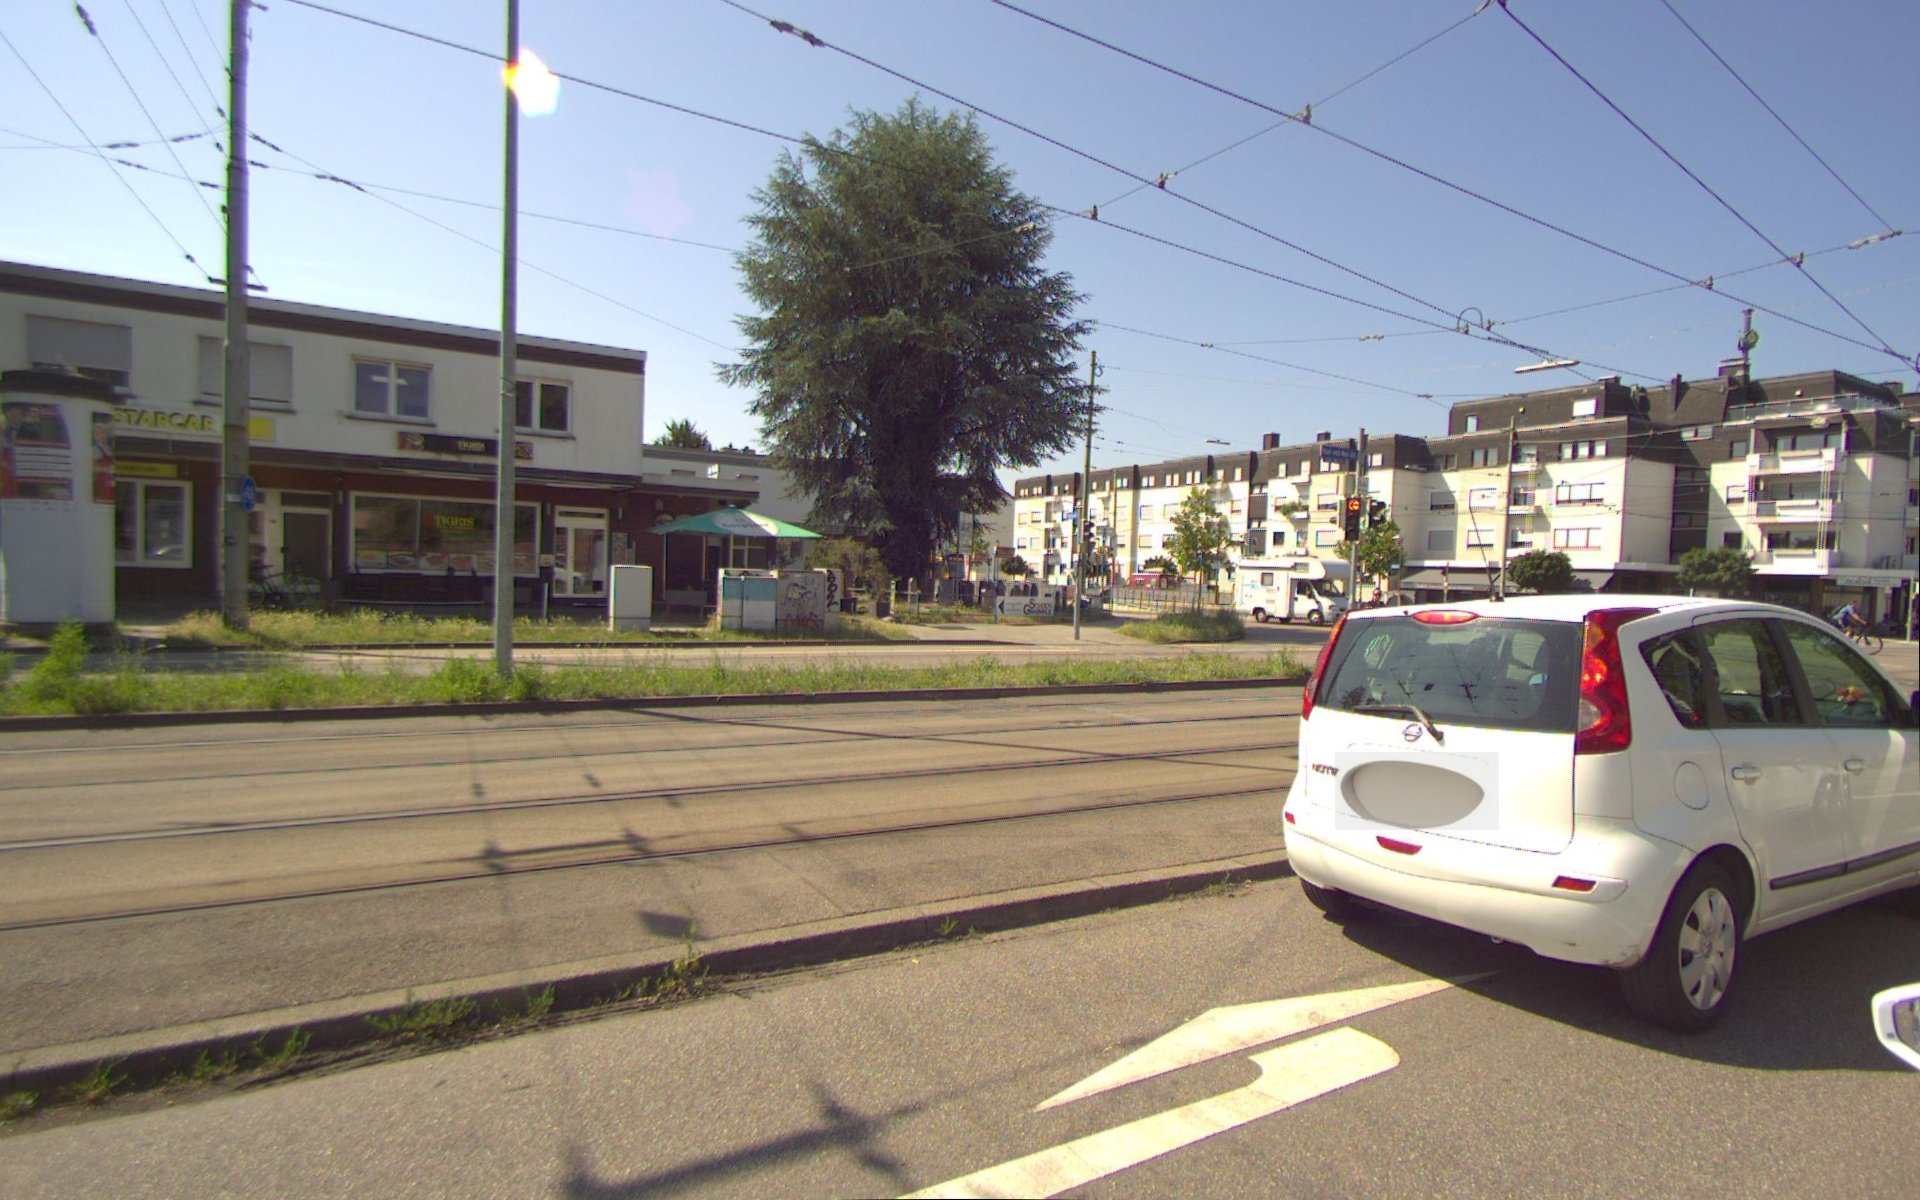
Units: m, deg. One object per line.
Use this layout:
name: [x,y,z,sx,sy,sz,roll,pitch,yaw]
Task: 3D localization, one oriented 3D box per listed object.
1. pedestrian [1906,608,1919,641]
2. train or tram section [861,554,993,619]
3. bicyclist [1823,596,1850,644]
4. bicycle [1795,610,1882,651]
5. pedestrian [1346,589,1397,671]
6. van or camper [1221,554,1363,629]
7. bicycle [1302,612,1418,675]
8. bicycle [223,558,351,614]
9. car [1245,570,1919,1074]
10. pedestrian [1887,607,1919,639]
pedestrian: [53.046,1.364,55.400,0.955,1.766,0.865,2,-1,14]
train or tram section: [-3.348,-1.119,90.764,4.681,5.217,16.122,2,-1,-30]
bicyclist: [30.000,0.679,34.385,0.628,1.634,0.560,1,-1,39]
bicycle: [30.012,1.042,34.361,2.215,1.314,0.557,1,-1,40]
pedestrian: [8.281,0.589,20.210,0.671,1.592,0.738,1,0,-45]
van or camper: [14.895,-0.347,45.402,2.550,3.133,5.647,2,-1,-35]
bicycle: [7.909,0.838,19.908,0.705,1.105,1.999,1,2,-44]
bicycle: [-15.045,-0.305,22.549,2.306,1.167,0.783,2,0,-30]
car: [3.322,0.702,4.829,3.759,1.587,1.634,0,0,-31]
pedestrian: [52.968,1.277,56.449,0.955,1.766,0.865,2,-1,6]
